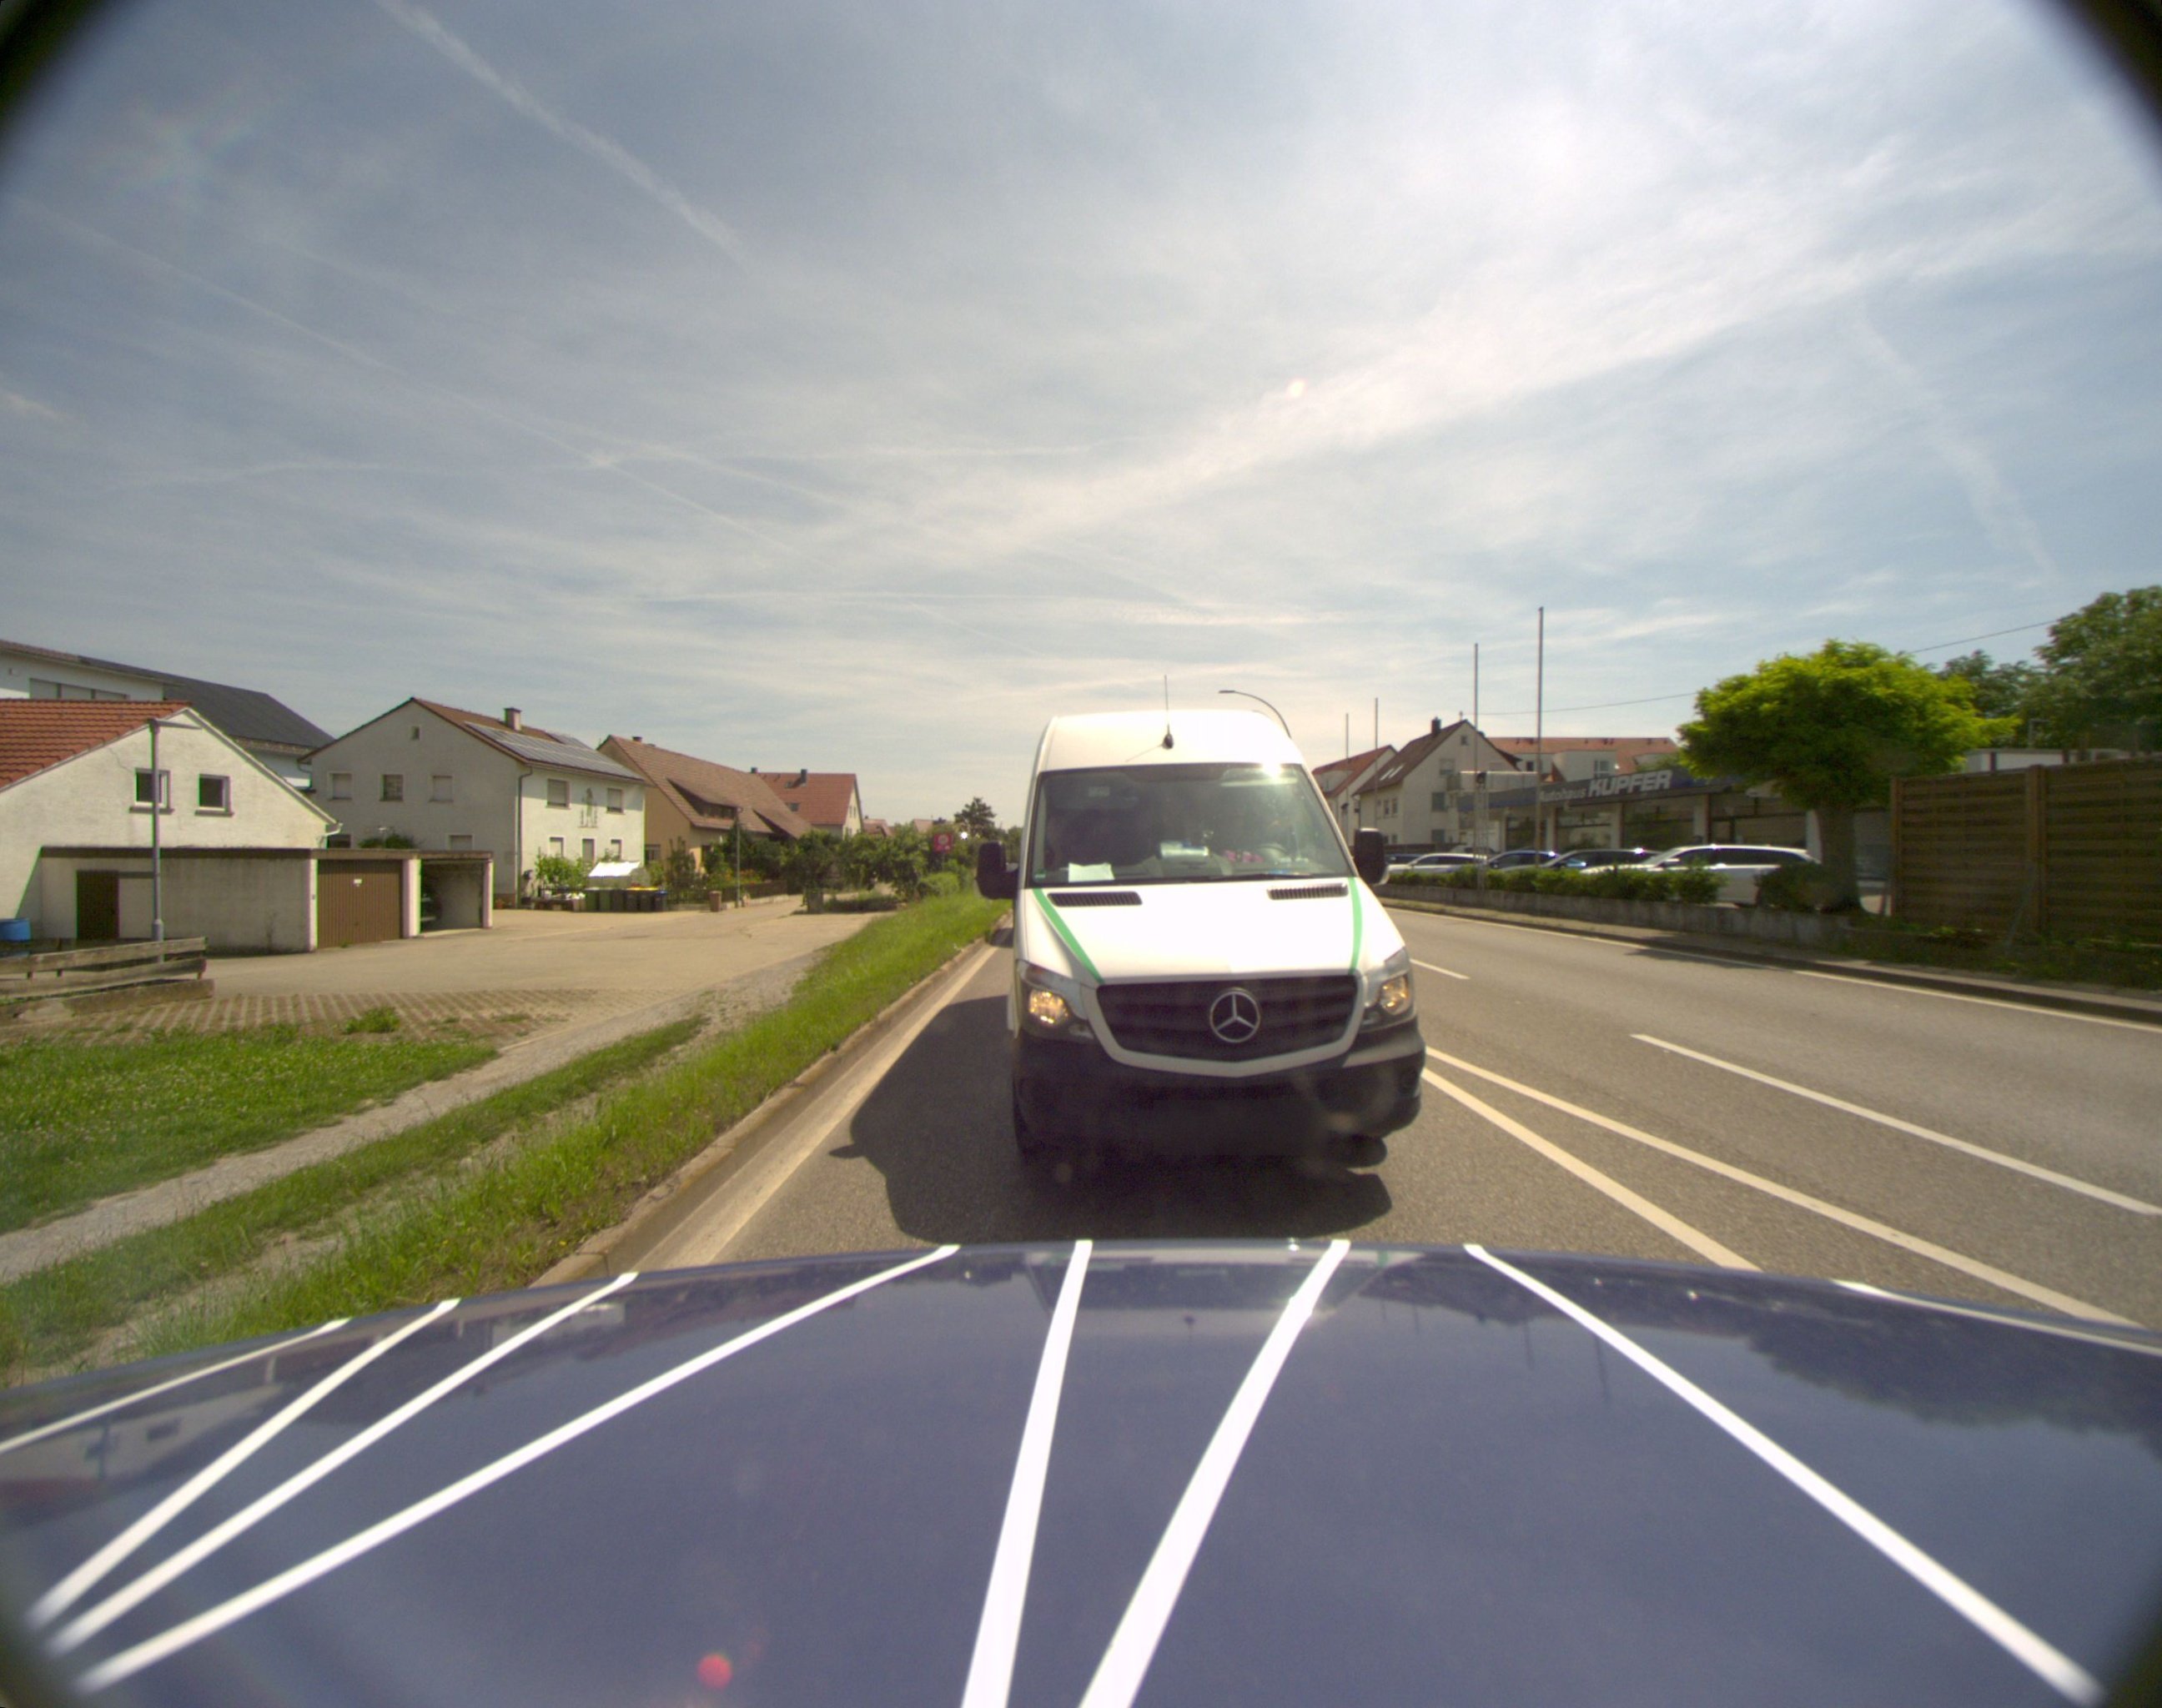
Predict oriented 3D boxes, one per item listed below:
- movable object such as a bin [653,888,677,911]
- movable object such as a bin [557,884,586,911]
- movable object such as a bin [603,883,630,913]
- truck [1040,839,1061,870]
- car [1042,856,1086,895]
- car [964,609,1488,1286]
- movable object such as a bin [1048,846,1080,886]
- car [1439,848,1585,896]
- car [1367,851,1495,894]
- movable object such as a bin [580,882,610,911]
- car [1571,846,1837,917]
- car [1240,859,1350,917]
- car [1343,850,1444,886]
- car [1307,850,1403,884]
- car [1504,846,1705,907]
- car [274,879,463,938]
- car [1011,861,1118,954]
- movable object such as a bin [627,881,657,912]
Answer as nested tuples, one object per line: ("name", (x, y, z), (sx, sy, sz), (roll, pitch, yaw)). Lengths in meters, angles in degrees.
("movable object such as a bin", (-18.852, 2.062, 34.480), (0.645, 1.021, 0.756), (-2, 0, -1))
("movable object such as a bin", (-23.050, 1.953, 34.397), (0.740, 1.149, 0.830), (-2, 0, -1))
("movable object such as a bin", (-21.200, 2.010, 34.684), (0.678, 1.330, 0.820), (-2, 0, -1))
("truck", (-3.990, 0.116, 99.701), (2.506, 3.847, 5.497), (-2, 0, -1))
("car", (-0.742, 0.906, 33.759), (1.824, 1.637, 3.901), (-1, 0, -1))
("car", (0.538, 0.377, 5.790), (1.978, 2.583, 5.633), (-2, 0, -1))
("movable object such as a bin", (-1.171, 0.843, 55.338), (1.998, 2.710, 5.419), (-1, 0, 1))
("car", (14.007, 0.603, 24.955), (3.990, 1.433, 1.857), (-2, 0, 25))
("car", (13.490, 0.704, 29.357), (4.303, 1.510, 2.003), (-2, 0, 27))
("movable object such as a bin", (-22.119, 1.921, 34.597), (0.745, 1.239, 0.889), (-2, 0, -1))
("car", (13.881, 0.604, 17.297), (4.329, 1.451, 1.858), (-1, 0, 24))
("car", (5.843, 0.871, 21.341), (1.819, 1.409, 4.615), (-2, 0, 1))
("car", (13.807, 0.633, 33.550), (3.990, 1.455, 2.003), (-2, 0, 26))
("car", (13.572, 0.660, 37.618), (4.255, 1.521, 2.003), (-2, 0, 26))
("car", (14.228, 0.613, 20.982), (4.251, 1.536, 1.853), (-2, 0, 23))
("car", (-21.544, 1.623, 23.082), (3.997, 1.594, 1.826), (-1, 0, 0))
("car", (-0.316, 0.941, 15.042), (1.824, 1.574, 3.901), (-1, 0, -1))
("movable object such as a bin", (-19.860, 1.918, 34.386), (0.765, 1.362, 0.946), (-2, 0, -1))
